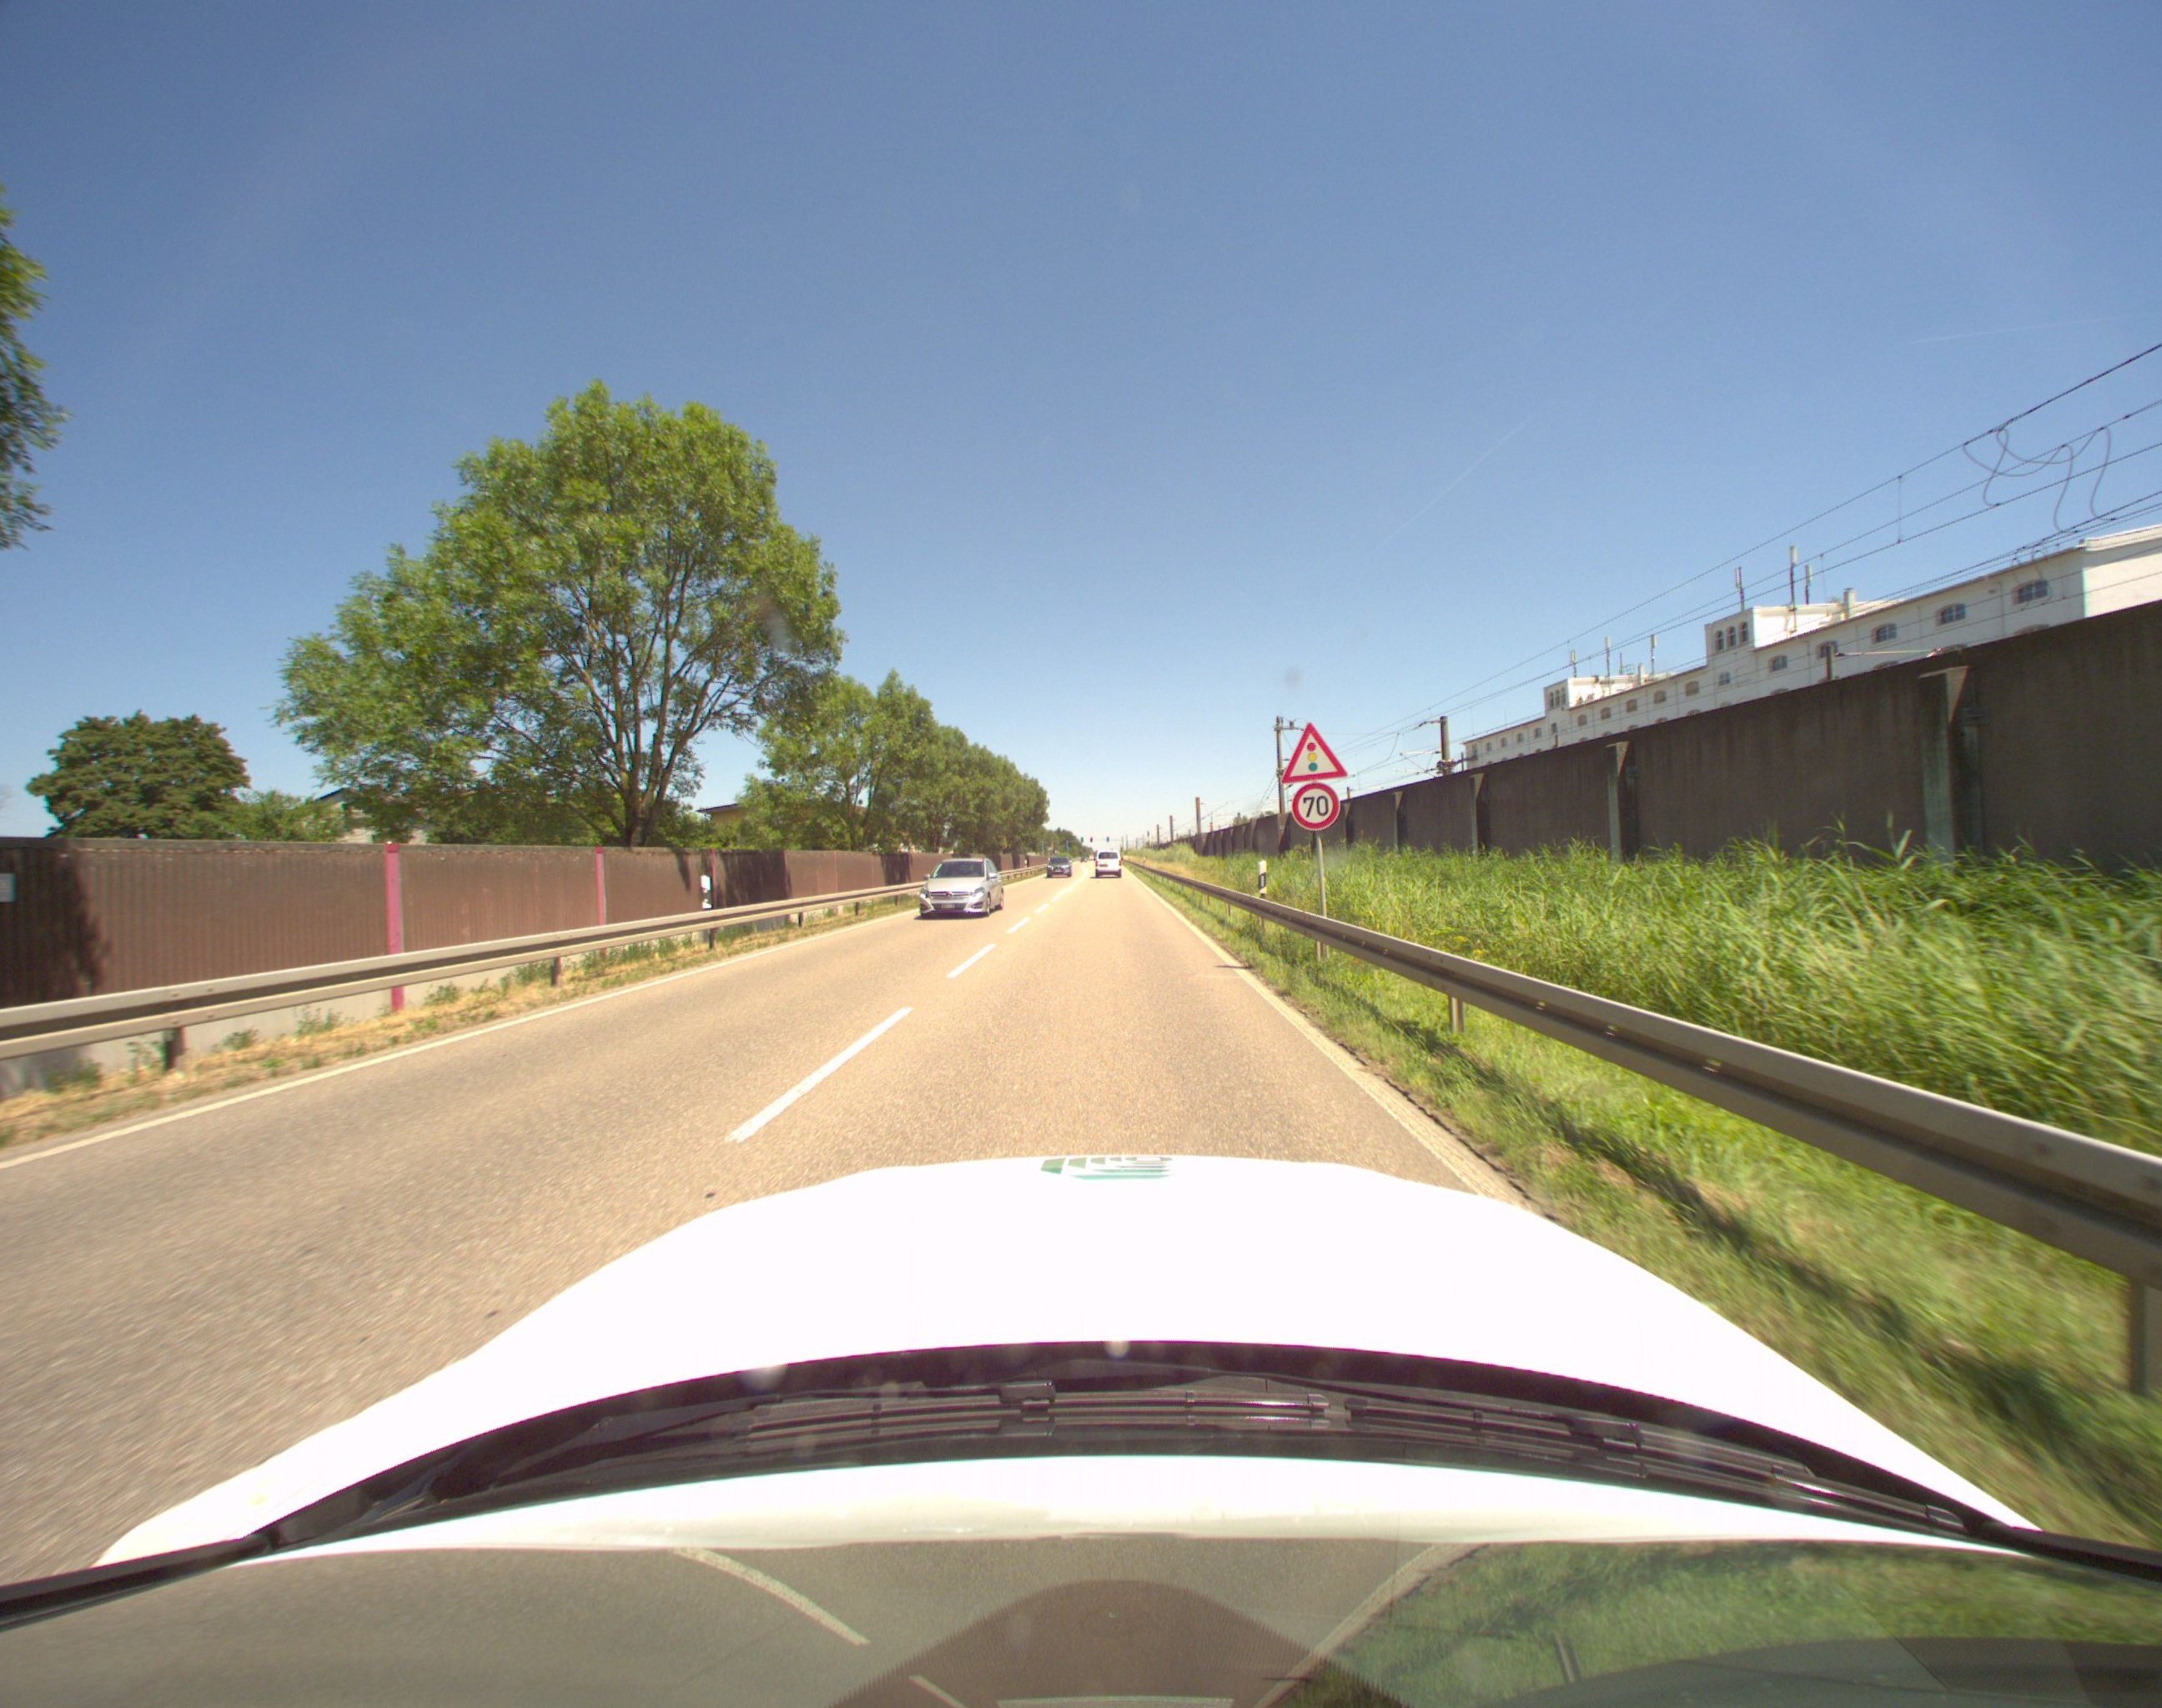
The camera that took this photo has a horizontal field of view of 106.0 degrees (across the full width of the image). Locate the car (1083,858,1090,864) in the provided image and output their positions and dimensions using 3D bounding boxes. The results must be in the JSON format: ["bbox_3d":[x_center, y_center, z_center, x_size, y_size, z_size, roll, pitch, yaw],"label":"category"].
[{"bbox_3d":[1.481,1.807,220.264,1.813,1.596,4.000,0,0,1],"label":"car"}]

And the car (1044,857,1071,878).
[{"bbox_3d":[-1.753,1.016,62.667,1.783,1.525,4.391,-1,0,1],"label":"car"}]

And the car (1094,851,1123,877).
[{"bbox_3d":[1.992,0.694,58.766,1.986,1.850,4.002,0,0,2],"label":"car"}]

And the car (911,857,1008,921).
[{"bbox_3d":[-3.202,0.877,22.298,1.782,1.525,4.393,-1,0,2],"label":"car"}]
